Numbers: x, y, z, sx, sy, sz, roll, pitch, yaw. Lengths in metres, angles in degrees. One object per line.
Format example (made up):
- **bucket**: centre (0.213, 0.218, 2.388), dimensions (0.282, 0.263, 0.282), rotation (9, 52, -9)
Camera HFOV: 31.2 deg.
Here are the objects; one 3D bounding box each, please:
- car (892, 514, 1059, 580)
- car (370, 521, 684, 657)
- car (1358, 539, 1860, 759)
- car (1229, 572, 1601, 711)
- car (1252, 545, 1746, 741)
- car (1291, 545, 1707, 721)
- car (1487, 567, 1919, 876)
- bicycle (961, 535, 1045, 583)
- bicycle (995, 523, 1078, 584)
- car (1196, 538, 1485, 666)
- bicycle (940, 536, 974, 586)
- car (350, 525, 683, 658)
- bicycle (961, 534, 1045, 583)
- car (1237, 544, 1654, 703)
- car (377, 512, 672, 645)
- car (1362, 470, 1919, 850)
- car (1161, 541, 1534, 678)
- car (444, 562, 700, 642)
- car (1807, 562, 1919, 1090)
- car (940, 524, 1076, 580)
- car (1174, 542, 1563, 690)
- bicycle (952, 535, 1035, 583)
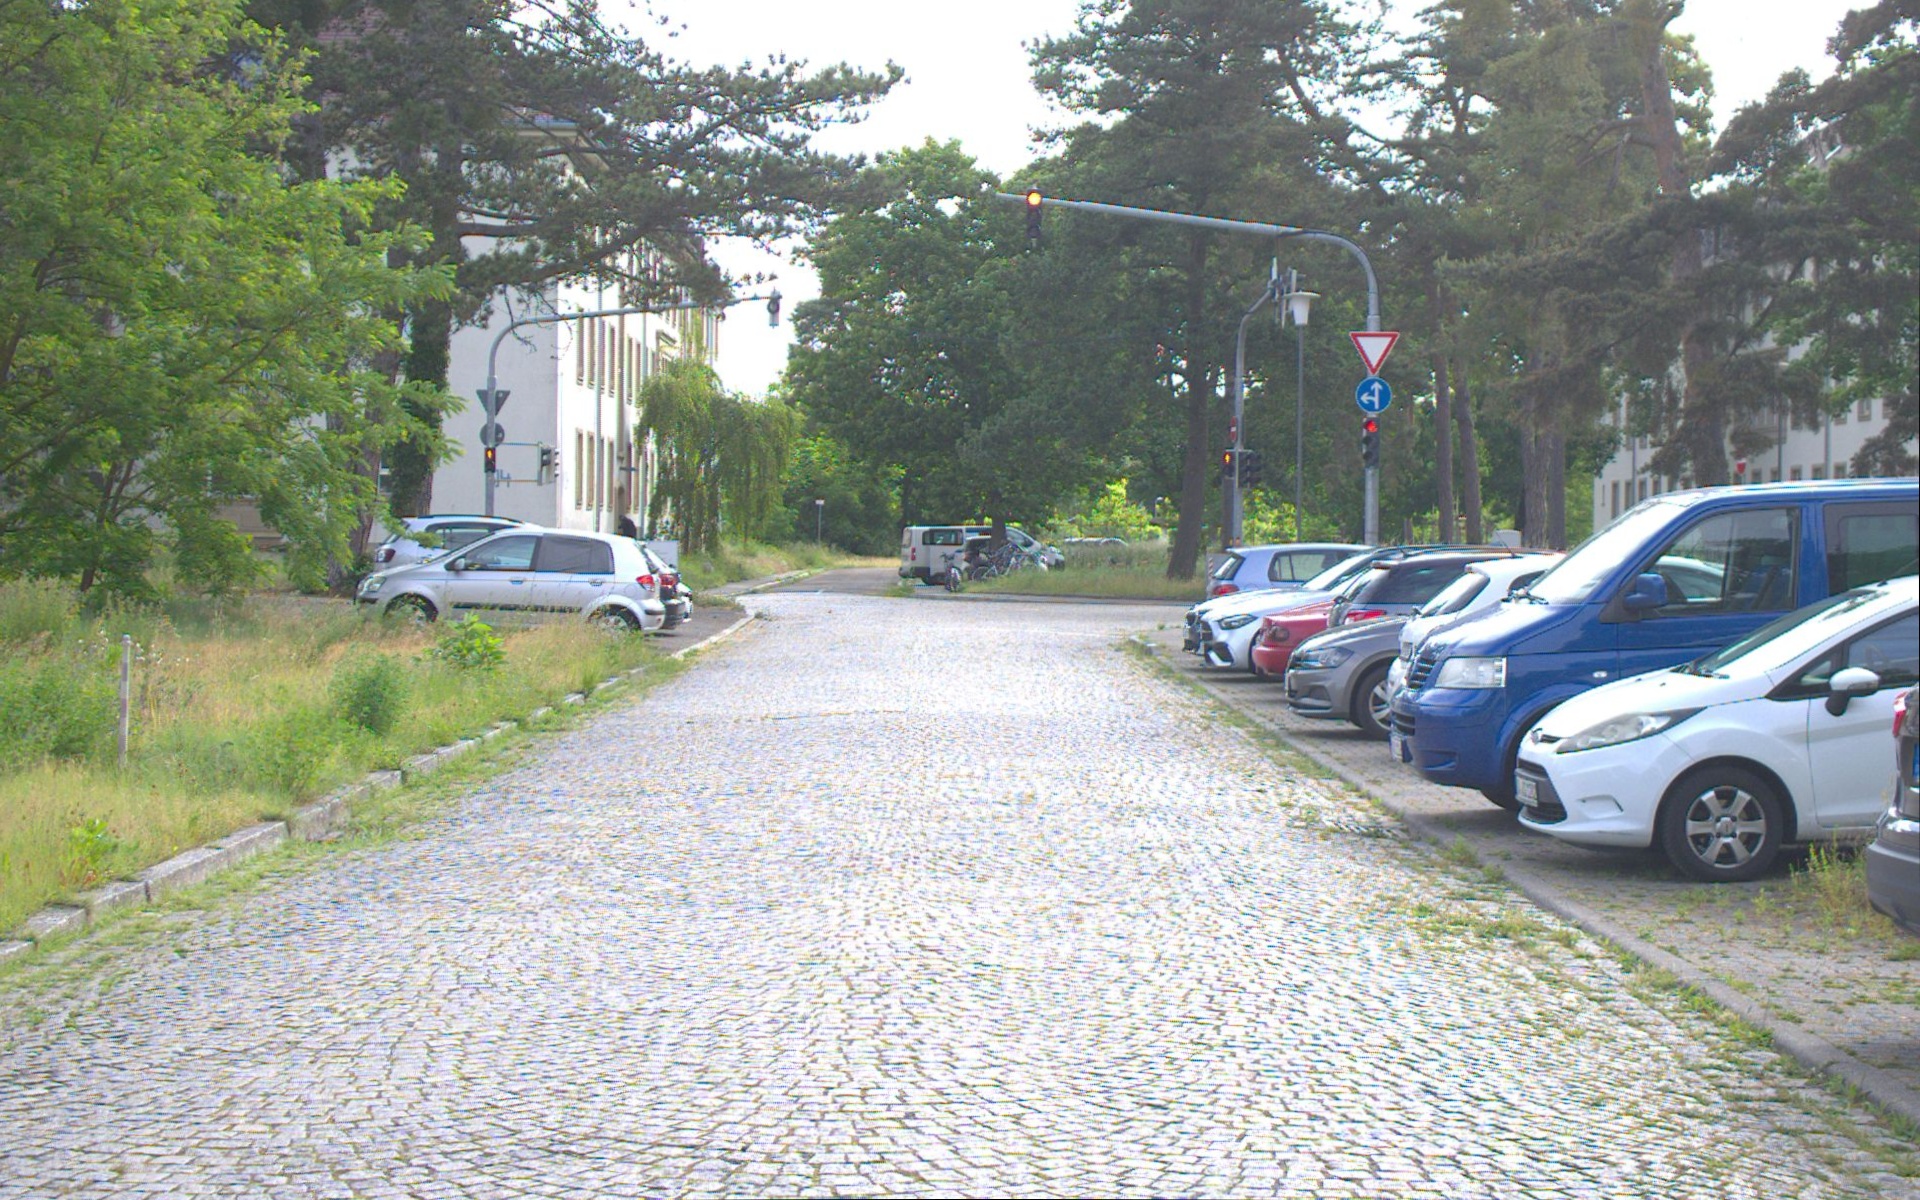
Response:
- **car**: centre (0.486, -1.700, 110.243), dimensions (5.049, 2.007, 2.001), rotation (1, 1, -10)
- **car**: centre (-5.663, -0.162, 45.138), dimensions (3.986, 1.700, 2.001), rotation (1, 1, -6)
- **car**: centre (4.695, 0.335, 25.169), dimensions (3.292, 1.499, 1.664), rotation (1, 1, -2)
- **car**: centre (4.409, 0.391, 33.590), dimensions (3.291, 1.263, 1.664), rotation (1, 1, -6)
- **car**: centre (4.353, 0.338, 27.994), dimensions (3.597, 1.501, 1.665), rotation (1, 1, -11)
- **car**: centre (4.809, 0.284, 30.871), dimensions (3.291, 1.499, 1.665), rotation (1, 1, -11)
- **car**: centre (4.643, 0.561, 17.157), dimensions (3.722, 1.419, 1.655), rotation (-1, 1, -3)
- **bicycle**: centre (1.152, -1.116, 93.012), dimensions (2.160, 1.264, 0.812), rotation (1, 1, -6)
- **bicycle**: centre (2.082, -1.263, 93.718), dimensions (2.160, 1.610, 0.812), rotation (1, 1, -6)
- **car**: centre (4.790, 0.019, 43.450), dimensions (3.388, 1.538, 1.391), rotation (1, 1, -6)
- **bicycle**: centre (-0.073, -1.020, 88.667), dimensions (0.810, 1.264, 1.973), rotation (1, 1, 1)
- **car**: centre (-5.476, -0.119, 42.650), dimensions (3.986, 1.546, 2.001), rotation (1, 1, -6)
- **bicycle**: centre (1.160, -1.110, 92.425), dimensions (2.160, 1.264, 0.812), rotation (1, 1, -6)
- **car**: centre (5.019, 0.230, 35.834), dimensions (3.986, 1.538, 1.664), rotation (1, 1, -6)
- **car**: centre (-6.079, -0.310, 48.096), dimensions (3.986, 1.744, 1.927), rotation (1, 1, -7)
- **car**: centre (4.821, 0.320, 19.622), dimensions (4.782, 2.033, 1.738), rotation (1, 1, -2)
- **car**: centre (4.577, 0.099, 40.882), dimensions (4.122, 1.538, 1.664), rotation (1, 1, -6)
- **car**: centre (-5.682, 0.026, 50.440), dimensions (3.670, 1.090, 1.647), rotation (1, 1, -6)
- **car**: centre (4.867, 0.717, 10.728), dimensions (3.950, 1.575, 1.762), rotation (1, 1, -2)
- **car**: centre (1.469, -1.502, 106.967), dimensions (3.986, 1.638, 2.001), rotation (1, 1, -6)
- **car**: centre (4.491, 0.165, 38.123), dimensions (3.986, 1.538, 1.664), rotation (1, 1, -6)
- **bicycle**: centre (0.908, -1.136, 94.226), dimensions (2.160, 1.264, 0.812), rotation (1, 1, -6)
